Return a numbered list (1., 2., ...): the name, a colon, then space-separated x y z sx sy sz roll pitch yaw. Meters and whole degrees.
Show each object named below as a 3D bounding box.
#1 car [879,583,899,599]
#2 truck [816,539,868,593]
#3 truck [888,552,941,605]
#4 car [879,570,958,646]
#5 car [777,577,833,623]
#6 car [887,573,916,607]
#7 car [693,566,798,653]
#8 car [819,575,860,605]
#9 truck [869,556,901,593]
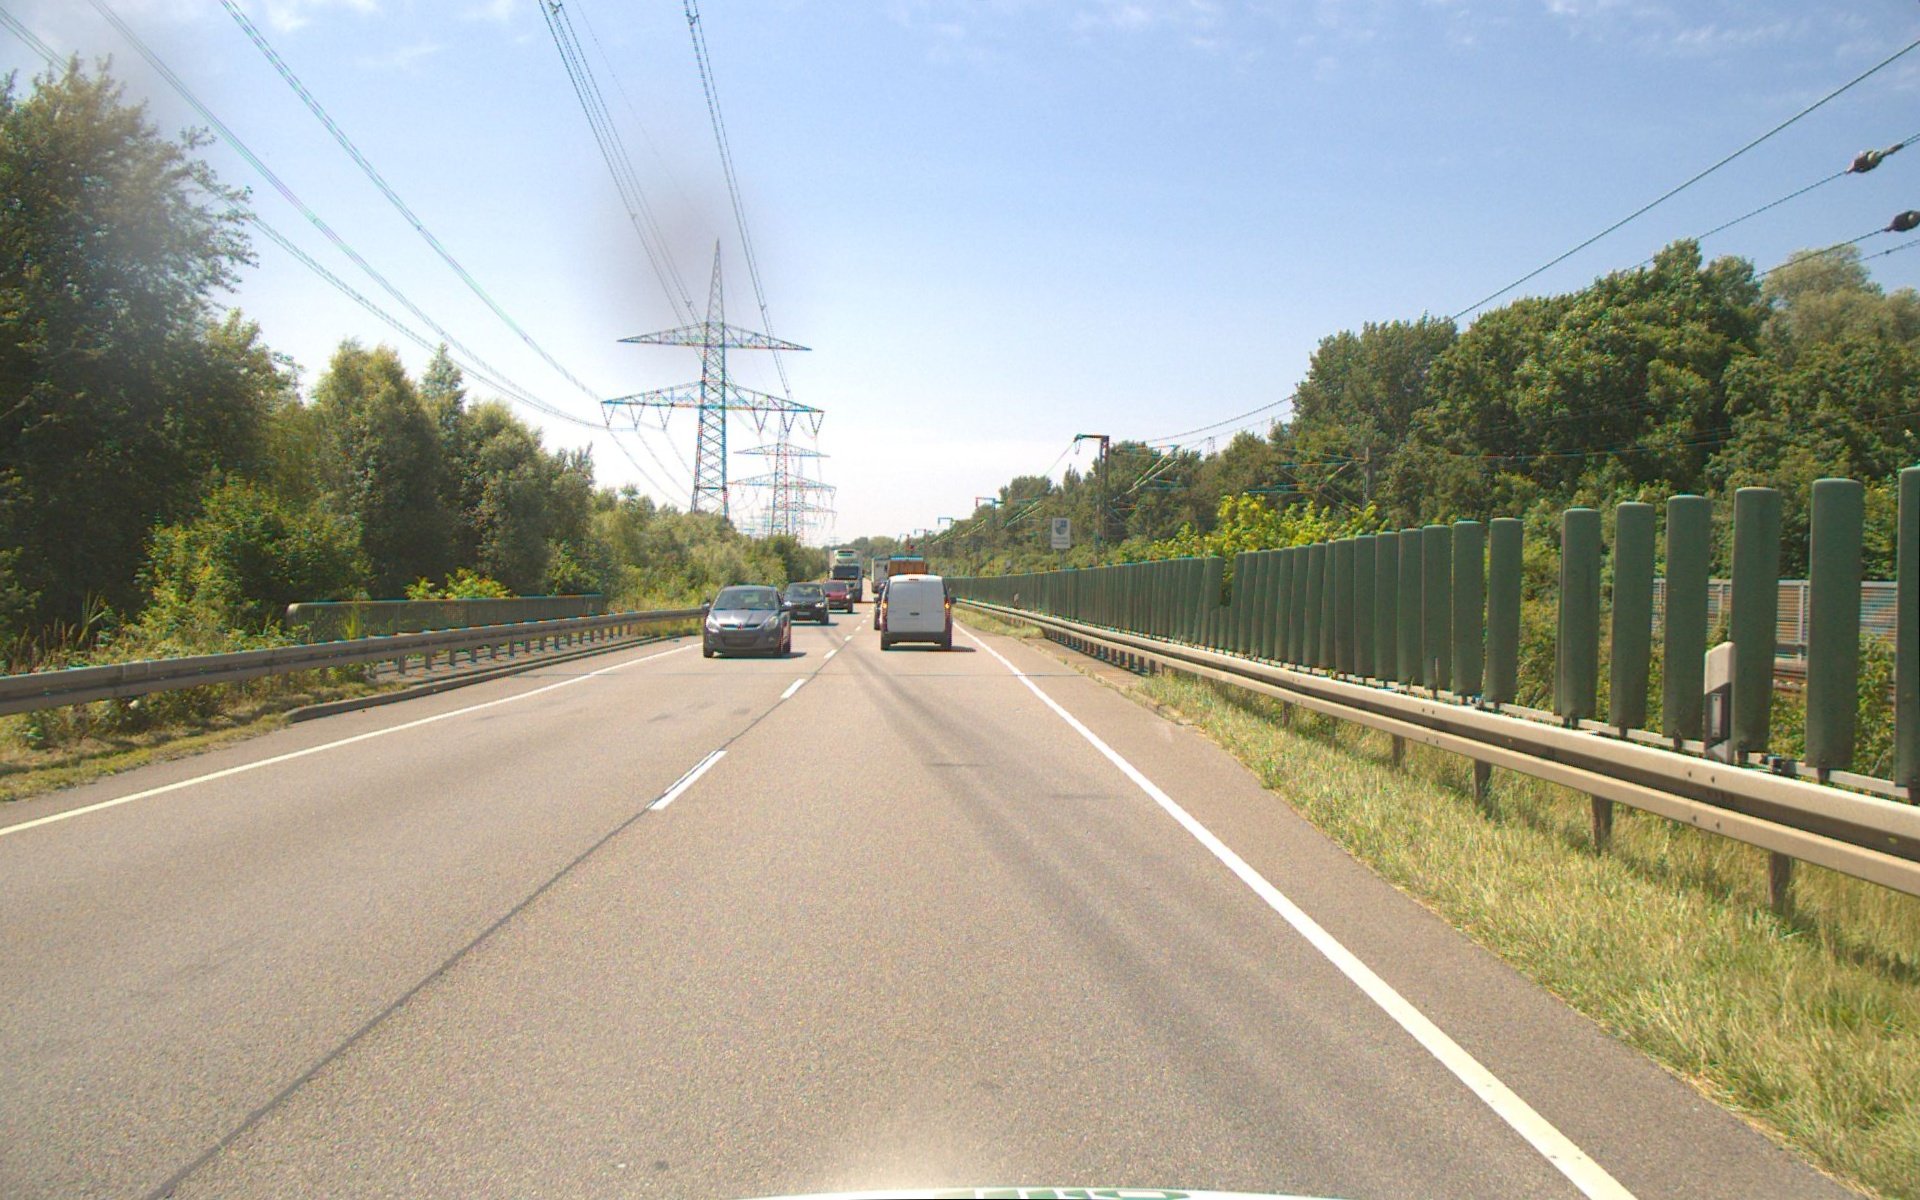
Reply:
1. car: -7.092 -0.904 165.659 1.953 1.553 3.998 1 1 -2
2. truck: -9.442 -2.811 134.398 3.334 3.921 16.814 4 2 -2
3. truck: -3.166 -1.591 114.070 3.231 3.226 14.401 4 2 -2
4. car: -1.067 0.176 40.994 1.838 1.772 3.998 1 0 -3
5. car: -6.274 -0.016 67.334 1.953 1.772 3.999 1 0 -1
6. car: -3.630 -0.619 102.369 1.728 2.049 3.999 0 0 -2
7. car: -4.635 0.176 36.301 1.954 1.772 3.998 1 0 -3
8. car: -6.389 -0.525 88.167 1.953 1.553 3.999 1 1 -1
9. truck: -9.073 -3.165 198.215 3.335 3.921 16.807 4 2 -4
